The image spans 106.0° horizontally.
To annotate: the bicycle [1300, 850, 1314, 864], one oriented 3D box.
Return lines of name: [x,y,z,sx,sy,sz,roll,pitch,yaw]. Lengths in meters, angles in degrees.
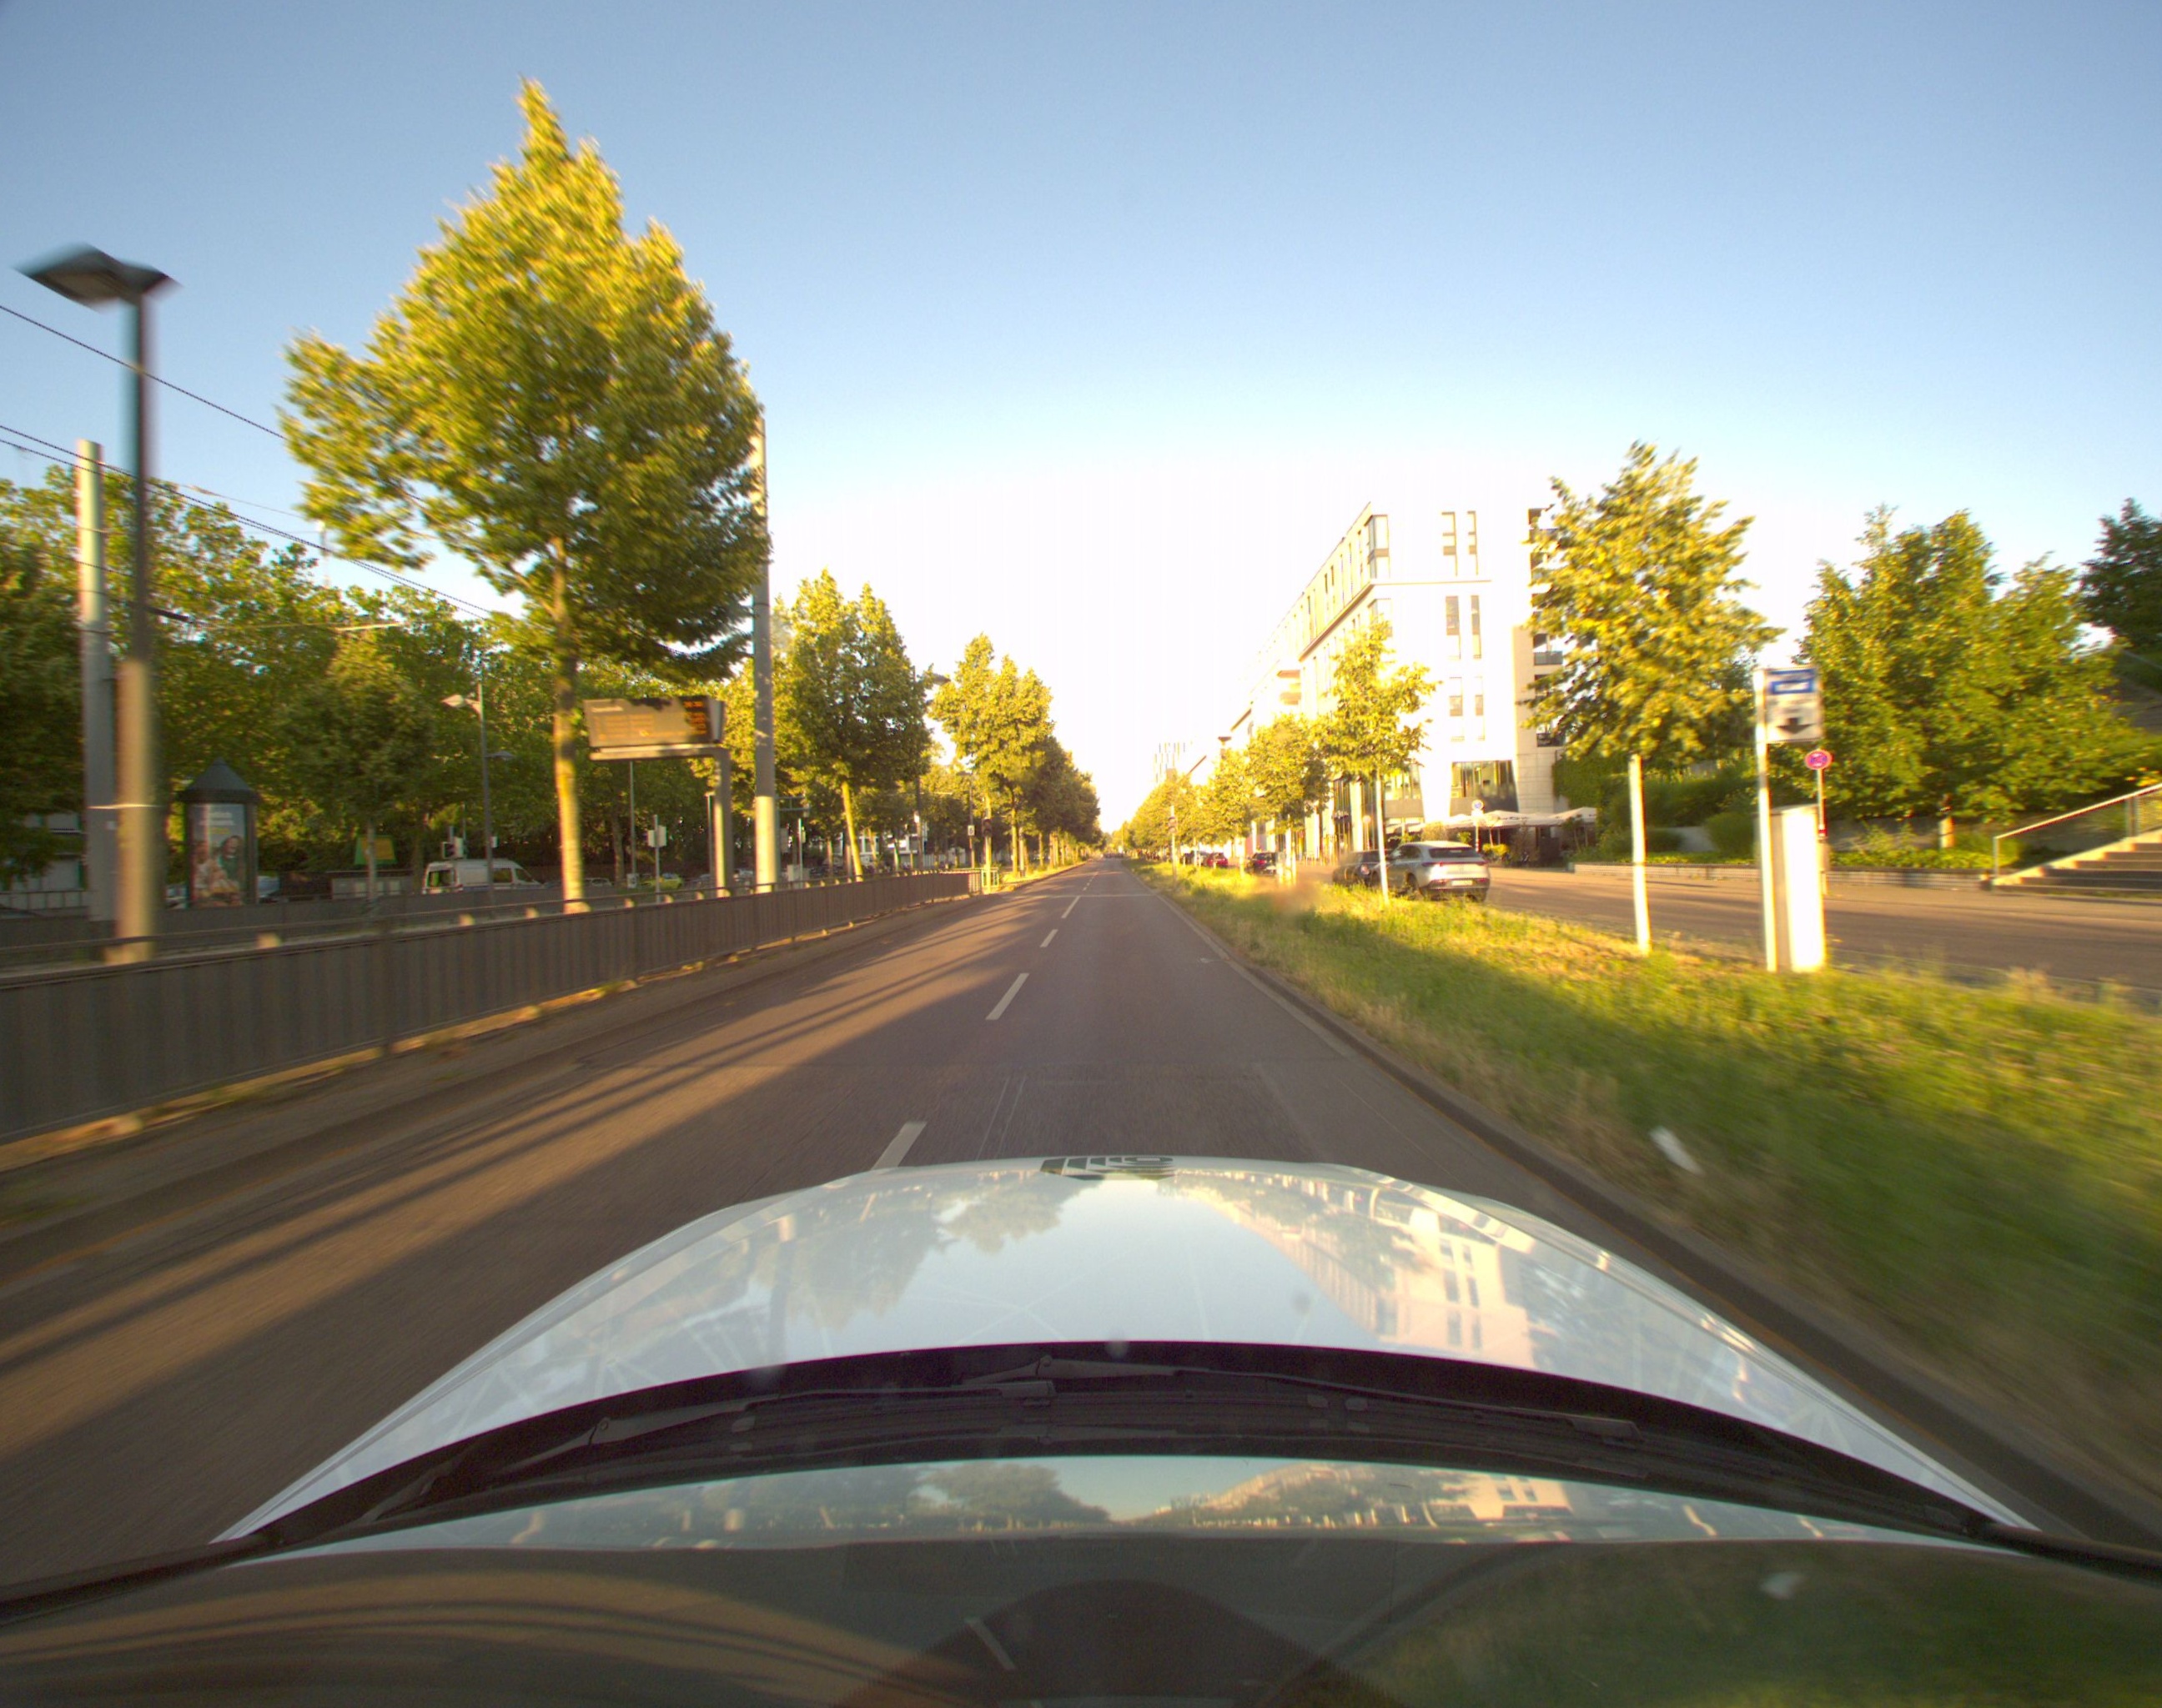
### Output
bicycle: [18.309,0.244,66.035,0.544,1.128,1.868,-3,0,0]

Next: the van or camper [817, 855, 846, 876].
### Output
van or camper: [-33.652,1.495,110.058,2.078,2.735,5.495,-2,0,1]

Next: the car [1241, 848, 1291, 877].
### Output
car: [10.218,0.451,45.290,1.802,1.501,4.369,-2,0,1]

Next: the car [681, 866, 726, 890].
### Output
car: [-35.900,2.272,77.572,1.982,2.013,4.010,-2,0,9]

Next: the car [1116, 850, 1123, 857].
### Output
car: [11.177,-0.219,236.660,1.986,2.013,4.001,-2,0,1]

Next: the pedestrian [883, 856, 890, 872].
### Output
pedestrian: [-23.603,1.179,98.961,0.692,1.870,0.864,-2,0,-6]

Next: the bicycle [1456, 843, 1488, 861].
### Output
bicycle: [24.941,-0.125,51.904,1.790,1.107,0.500,-2,0,-2]

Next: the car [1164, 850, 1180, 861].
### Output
car: [13.119,0.151,117.901,1.802,1.501,4.827,-2,0,1]

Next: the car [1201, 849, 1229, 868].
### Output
car: [11.337,0.339,69.077,1.802,1.501,3.960,-2,0,1]

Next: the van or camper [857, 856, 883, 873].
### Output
van or camper: [-40.466,2.009,156.007,2.697,3.085,6.272,-2,0,6]

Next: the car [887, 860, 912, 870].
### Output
car: [-32.428,1.952,145.627,3.976,1.640,1.921,-2,0,-2]

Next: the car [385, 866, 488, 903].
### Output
car: [-39.504,1.838,50.116,1.984,2.013,5.066,-2,0,5]

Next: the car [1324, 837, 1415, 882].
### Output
car: [9.714,0.157,27.743,1.743,1.398,4.001,-1,0,1]

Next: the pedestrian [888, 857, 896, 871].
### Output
pedestrian: [-22.852,1.198,98.290,0.691,1.743,0.866,-2,0,0]

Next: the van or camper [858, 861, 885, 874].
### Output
van or camper: [-33.308,2.108,129.623,3.985,1.791,1.994,-2,0,-9]

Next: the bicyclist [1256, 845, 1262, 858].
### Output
bicyclist: [21.169,-0.322,96.826,0.542,1.568,1.021,-2,0,5]

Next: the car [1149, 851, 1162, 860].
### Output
car: [14.769,0.281,161.747,1.937,1.549,4.811,-2,0,0]

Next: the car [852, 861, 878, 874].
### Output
car: [-27.656,1.727,104.438,1.984,1.486,4.006,-2,0,5]

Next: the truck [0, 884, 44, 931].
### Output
truck: [-41.630,2.074,29.676,1.984,1.690,4.300,-2,0,5]

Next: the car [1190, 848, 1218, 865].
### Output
car: [11.558,0.213,76.731,1.914,1.501,5.011,-2,0,1]

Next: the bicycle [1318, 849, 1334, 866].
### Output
bicycle: [18.128,0.245,60.328,0.615,1.231,1.670,-2,0,0]

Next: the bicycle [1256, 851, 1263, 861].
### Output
bicycle: [21.184,0.198,96.811,0.540,1.118,1.915,-2,0,5]

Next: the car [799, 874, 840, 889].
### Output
car: [-26.460,2.736,82.562,1.983,1.315,5.151,-2,0,6]

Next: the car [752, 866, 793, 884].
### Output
car: [-27.676,1.873,73.209,1.892,1.499,4.310,-2,0,3]

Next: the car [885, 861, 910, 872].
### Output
car: [-32.171,2.171,142.985,3.976,1.640,1.921,-2,0,-2]

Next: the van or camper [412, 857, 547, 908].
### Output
van or camper: [-31.312,1.400,42.701,2.272,2.365,5.793,-2,0,7]

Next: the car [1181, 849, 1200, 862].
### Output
car: [12.237,0.158,91.549,1.717,1.501,4.235,-1,0,2]

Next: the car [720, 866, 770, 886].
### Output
car: [-27.691,1.799,67.244,1.985,1.499,4.560,-2,0,3]

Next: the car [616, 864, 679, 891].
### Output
car: [-29.542,1.587,55.631,1.985,1.640,4.003,-2,0,3]

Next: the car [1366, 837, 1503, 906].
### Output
car: [9.510,0.424,22.386,1.802,1.632,4.677,-2,0,1]

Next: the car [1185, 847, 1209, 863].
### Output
car: [11.915,0.104,84.169,1.946,1.623,4.822,0,0,1]

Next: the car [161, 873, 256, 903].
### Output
car: [-58.841,2.267,55.048,1.986,1.750,4.002,-2,0,2]

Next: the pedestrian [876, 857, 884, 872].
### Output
pedestrian: [-24.291,1.246,98.395,0.692,1.759,0.864,-2,0,-6]

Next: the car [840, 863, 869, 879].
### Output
car: [-27.481,2.025,99.008,1.986,1.750,4.792,-2,0,1]

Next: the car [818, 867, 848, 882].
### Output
car: [-27.708,2.255,91.075,1.793,1.560,3.846,-2,0,7]

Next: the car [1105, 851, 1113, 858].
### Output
car: [8.342,0.034,241.278,2.080,2.013,4.001,-2,0,1]

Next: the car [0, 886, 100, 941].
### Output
car: [-32.969,1.830,24.504,1.802,1.531,4.057,-2,0,3]
